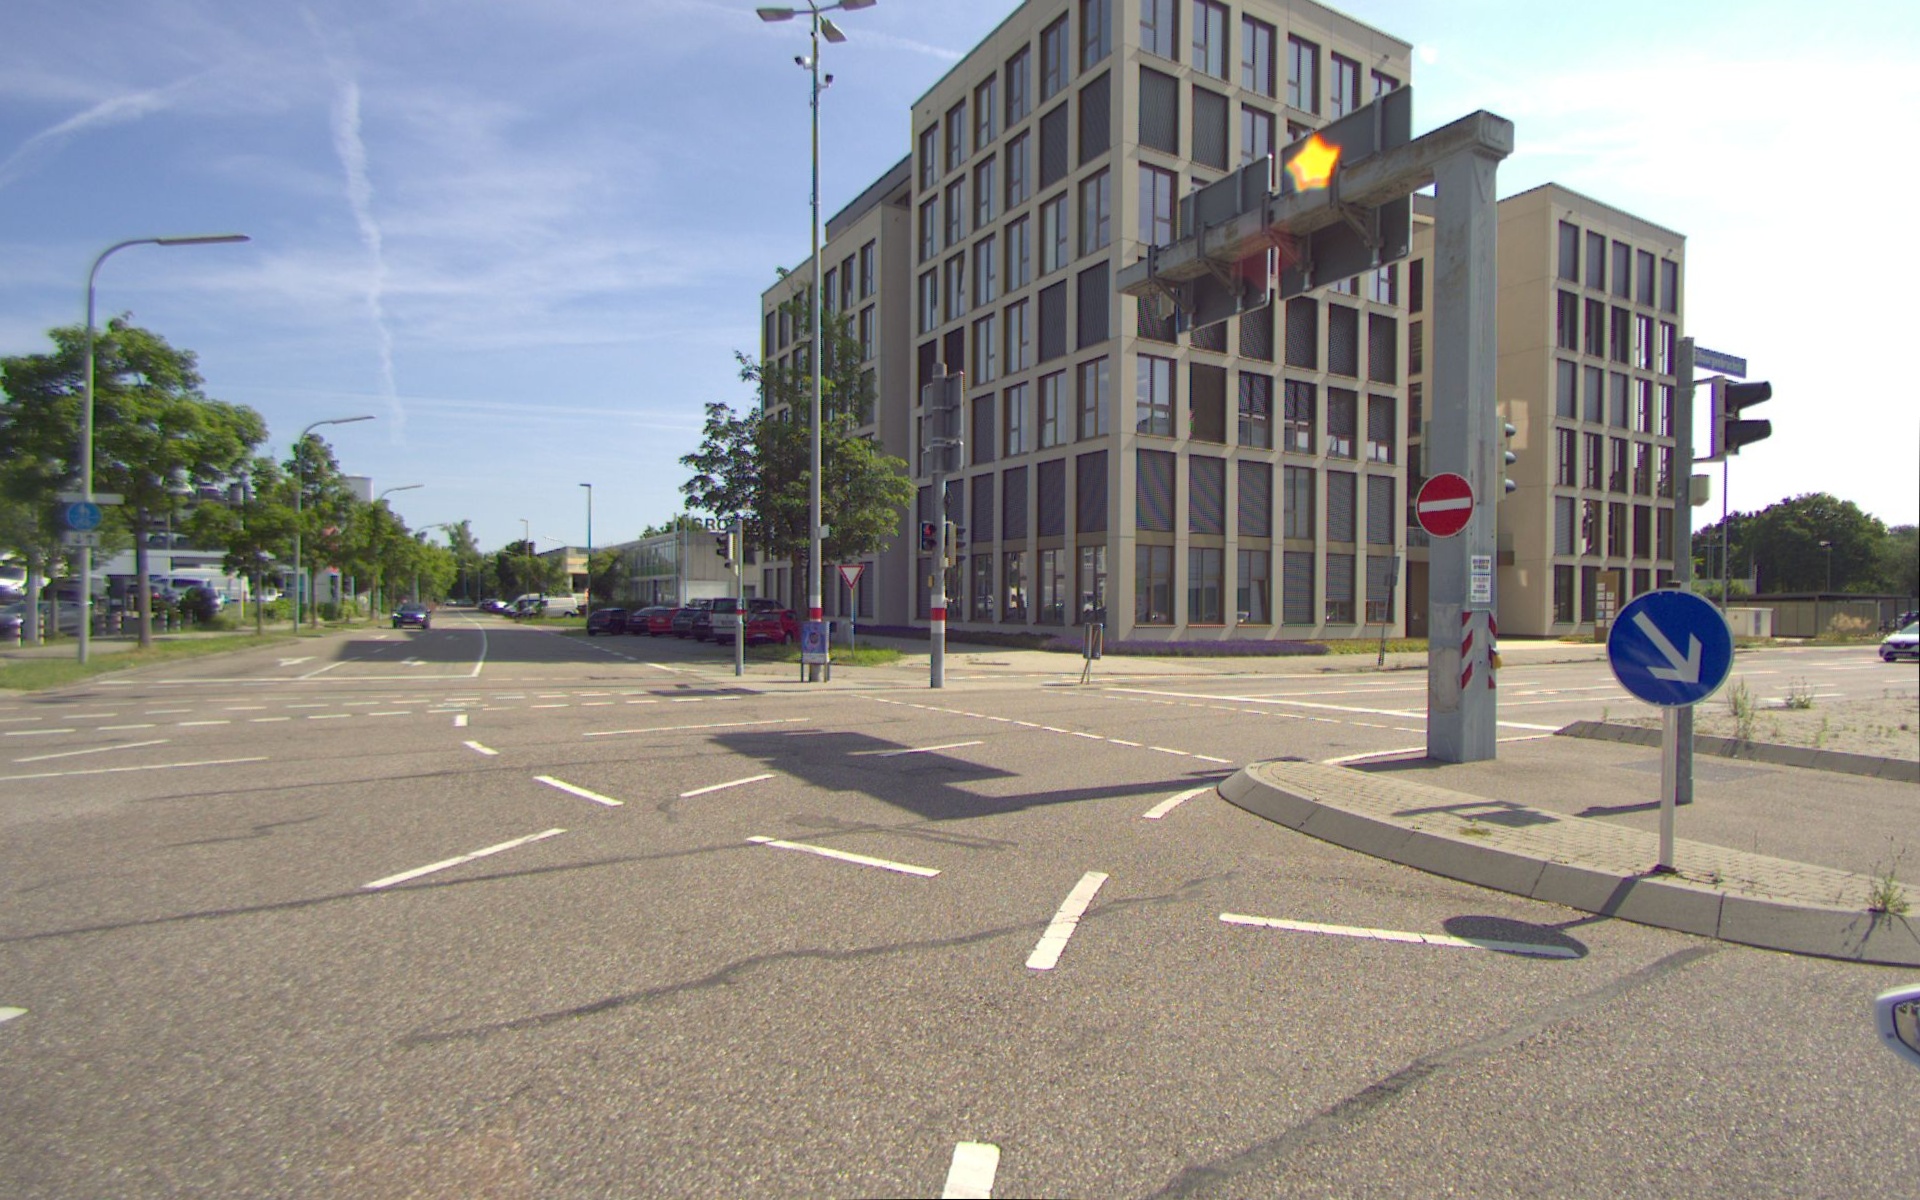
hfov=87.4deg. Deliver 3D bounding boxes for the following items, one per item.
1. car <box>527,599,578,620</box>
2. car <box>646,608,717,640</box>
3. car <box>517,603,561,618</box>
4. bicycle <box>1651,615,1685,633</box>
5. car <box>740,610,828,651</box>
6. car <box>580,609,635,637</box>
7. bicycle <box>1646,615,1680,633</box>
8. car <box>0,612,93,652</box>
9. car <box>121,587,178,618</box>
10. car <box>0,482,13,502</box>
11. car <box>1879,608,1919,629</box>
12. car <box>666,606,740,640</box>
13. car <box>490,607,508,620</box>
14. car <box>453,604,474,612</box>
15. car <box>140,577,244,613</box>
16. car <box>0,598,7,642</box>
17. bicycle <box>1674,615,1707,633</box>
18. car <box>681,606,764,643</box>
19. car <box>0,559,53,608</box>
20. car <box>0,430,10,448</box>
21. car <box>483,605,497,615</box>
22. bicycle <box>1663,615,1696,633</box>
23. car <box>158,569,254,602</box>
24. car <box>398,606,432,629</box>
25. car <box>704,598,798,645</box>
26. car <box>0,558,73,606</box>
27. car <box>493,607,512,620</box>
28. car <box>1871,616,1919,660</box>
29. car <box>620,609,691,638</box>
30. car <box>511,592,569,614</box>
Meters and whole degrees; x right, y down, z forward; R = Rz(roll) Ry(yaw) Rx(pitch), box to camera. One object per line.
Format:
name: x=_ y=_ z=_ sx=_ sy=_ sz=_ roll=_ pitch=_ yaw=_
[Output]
car: x=-37.545 y=0.879 z=92.577 sx=4.190 sy=1.966 sz=1.884 roll=1 pitch=0 yaw=-31
car: x=-14.148 y=1.205 z=51.246 sx=1.655 sy=1.500 sz=4.001 roll=0 pitch=0 yaw=16
car: x=-41.915 y=1.029 z=99.942 sx=3.834 sy=1.470 sz=1.751 roll=1 pitch=0 yaw=-31
bicycle: x=46.499 y=1.578 z=65.976 sx=0.581 sy=1.106 sz=1.695 roll=0 pitch=1 yaw=-29
car: x=-6.793 y=1.145 z=39.176 sx=1.772 sy=1.434 sz=4.031 roll=0 pitch=0 yaw=17
car: x=-19.013 y=1.227 z=54.330 sx=1.639 sy=1.434 sz=3.616 roll=0 pitch=0 yaw=0
bicycle: x=45.948 y=1.577 z=65.661 sx=0.581 sy=1.106 sz=1.695 roll=0 pitch=1 yaw=-29
car: x=-36.756 y=1.218 z=39.644 sx=1.763 sy=1.461 sz=4.025 roll=0 pitch=0 yaw=-4
car: x=-44.073 y=0.111 z=54.707 sx=1.978 sy=1.596 sz=3.950 roll=0 pitch=1 yaw=-32
car: x=-107.184 y=-12.006 z=110.546 sx=3.958 sy=2.041 sz=1.981 roll=1 pitch=2 yaw=-34
car: x=70.464 y=1.397 z=73.934 sx=4.052 sy=1.439 sz=1.720 roll=1 pitch=-1 yaw=41
car: x=-12.350 y=1.082 z=48.484 sx=1.628 sy=1.518 sz=3.965 roll=0 pitch=0 yaw=16
car: x=-63.714 y=1.790 z=138.791 sx=2.012 sy=1.739 sz=3.969 roll=1 pitch=0 yaw=-29
car: x=-109.405 y=1.802 z=221.393 sx=3.921 sy=1.739 sz=2.037 roll=1 pitch=0 yaw=19
car: x=-45.363 y=-0.256 z=59.467 sx=4.698 sy=2.040 sz=1.983 roll=0 pitch=0 yaw=-32
car: x=-33.675 y=0.728 z=31.963 sx=4.507 sy=1.461 sz=1.778 roll=-2 pitch=1 yaw=-32
bicycle: x=49.120 y=1.613 z=67.537 sx=0.581 sy=1.106 sz=1.695 roll=0 pitch=1 yaw=-29
car: x=-10.567 y=1.062 z=44.983 sx=1.772 sy=1.534 sz=4.000 roll=0 pitch=0 yaw=19
car: x=-41.396 y=-0.762 z=43.656 sx=2.067 sy=1.932 sz=4.507 roll=5 pitch=-1 yaw=-32
car: x=-110.216 y=-18.392 z=113.404 sx=3.961 sy=1.739 sz=2.017 roll=1 pitch=0 yaw=-36
car: x=-84.227 y=1.717 z=180.029 sx=2.012 sy=1.739 sz=3.969 roll=1 pitch=0 yaw=-29
bicycle: x=47.790 y=1.601 z=66.702 sx=0.581 sy=1.106 sz=1.695 roll=0 pitch=1 yaw=-29
car: x=-47.985 y=-0.904 z=64.064 sx=4.698 sy=2.040 sz=1.983 roll=0 pitch=0 yaw=-32
car: x=-32.925 y=1.030 z=60.750 sx=1.638 sy=1.307 sz=3.779 roll=1 pitch=0 yaw=-26
car: x=-8.700 y=0.836 z=42.310 sx=1.860 sy=1.846 sz=4.816 roll=0 pitch=0 yaw=16
car: x=-48.489 y=-0.937 z=52.493 sx=2.063 sy=2.374 sz=5.507 roll=0 pitch=1 yaw=-29
car: x=-61.322 y=1.781 z=134.524 sx=2.012 sy=1.739 sz=3.969 roll=1 pitch=0 yaw=-29
car: x=34.395 y=1.361 z=35.338 sx=4.270 sy=1.480 sz=1.778 roll=2 pitch=-1 yaw=-22
car: x=-16.147 y=1.238 z=53.505 sx=1.686 sy=1.434 sz=4.001 roll=0 pitch=0 yaw=16
car: x=-47.242 y=0.335 z=112.912 sx=5.829 sy=2.464 sz=2.359 roll=1 pitch=0 yaw=-27
